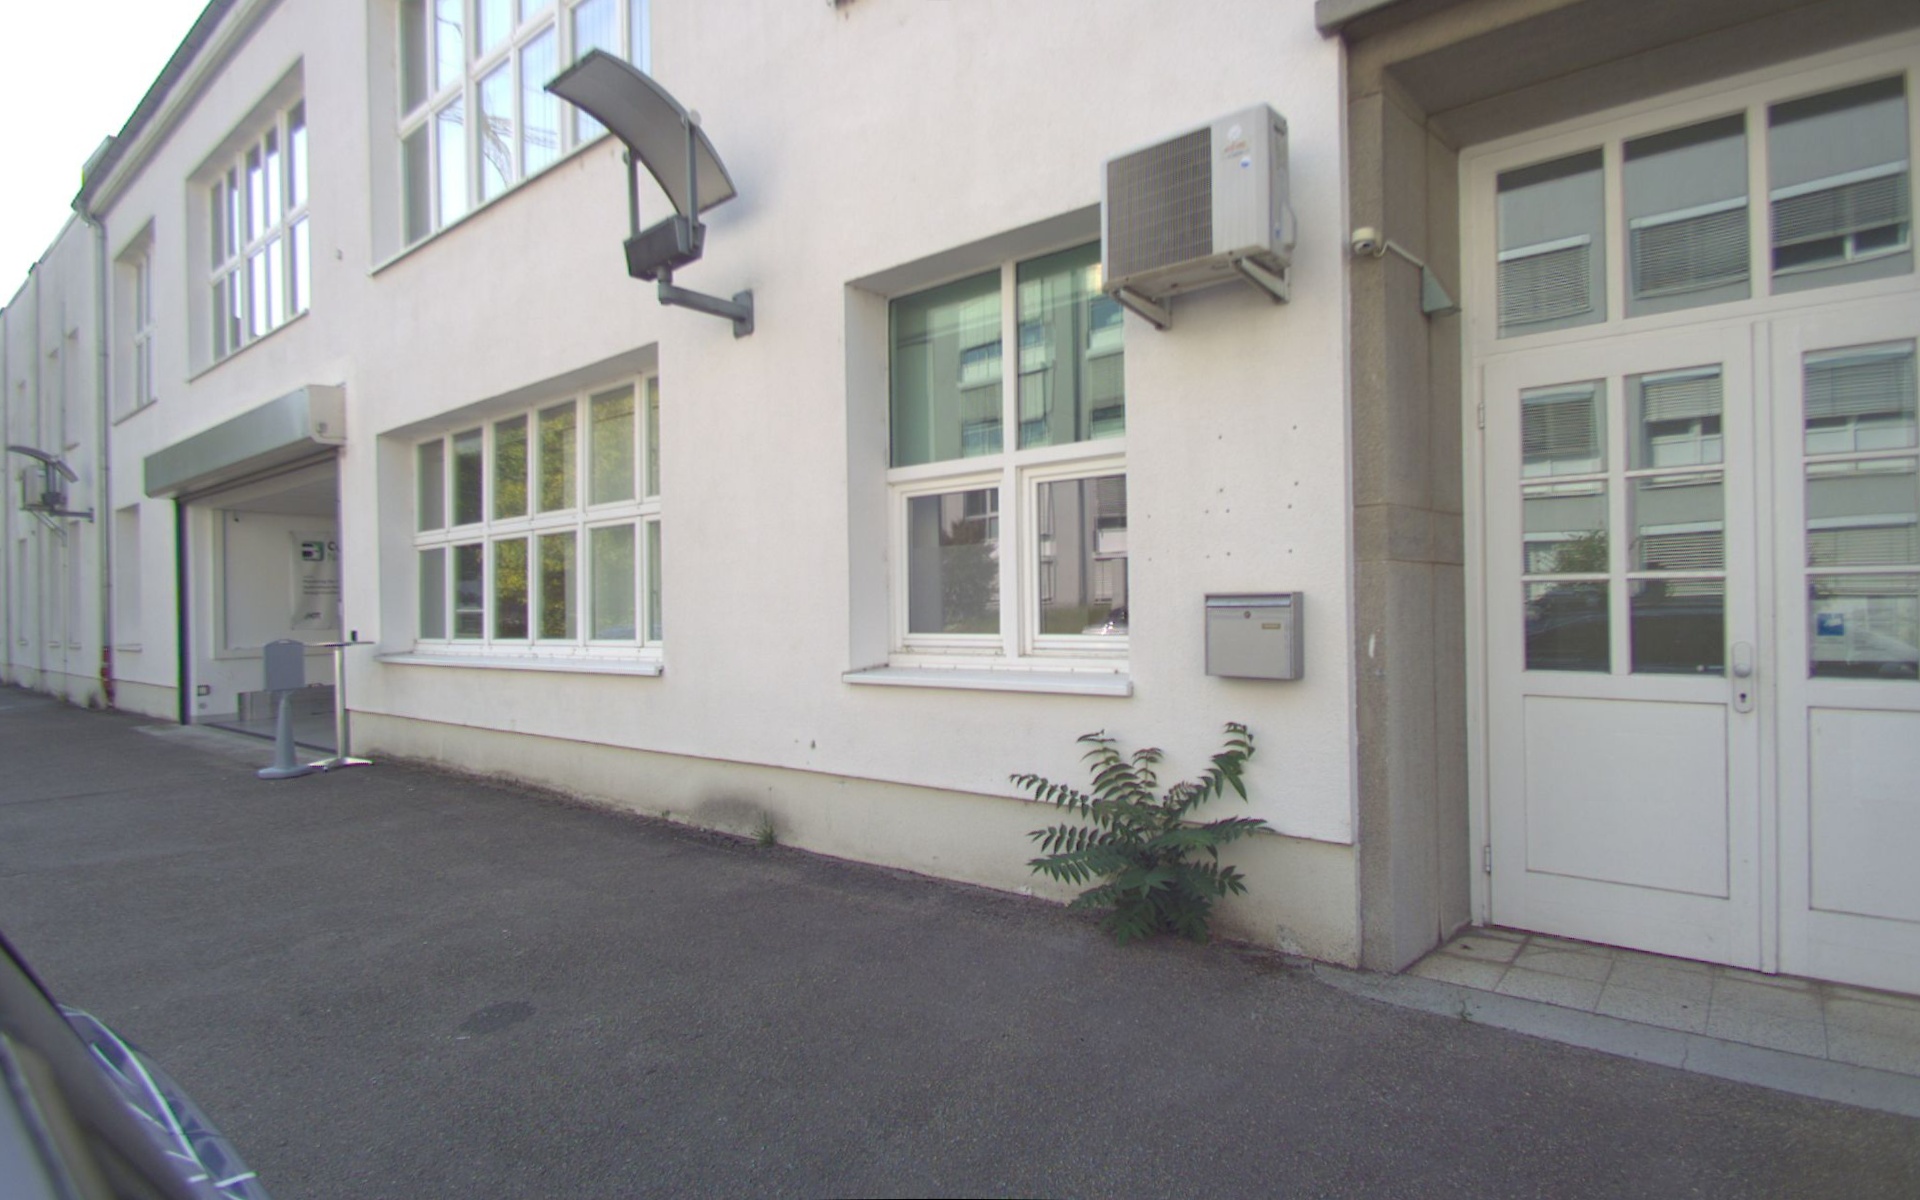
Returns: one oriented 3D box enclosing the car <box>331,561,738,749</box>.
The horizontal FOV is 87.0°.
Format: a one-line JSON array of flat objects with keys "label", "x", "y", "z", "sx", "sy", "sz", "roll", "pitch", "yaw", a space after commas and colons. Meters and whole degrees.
[{"label": "car", "x": -5.585, "y": 0.589, "z": 13.832, "sx": 2.054, "sy": 2.108, "sz": 4.699, "roll": -1, "pitch": 0, "yaw": 40}]
